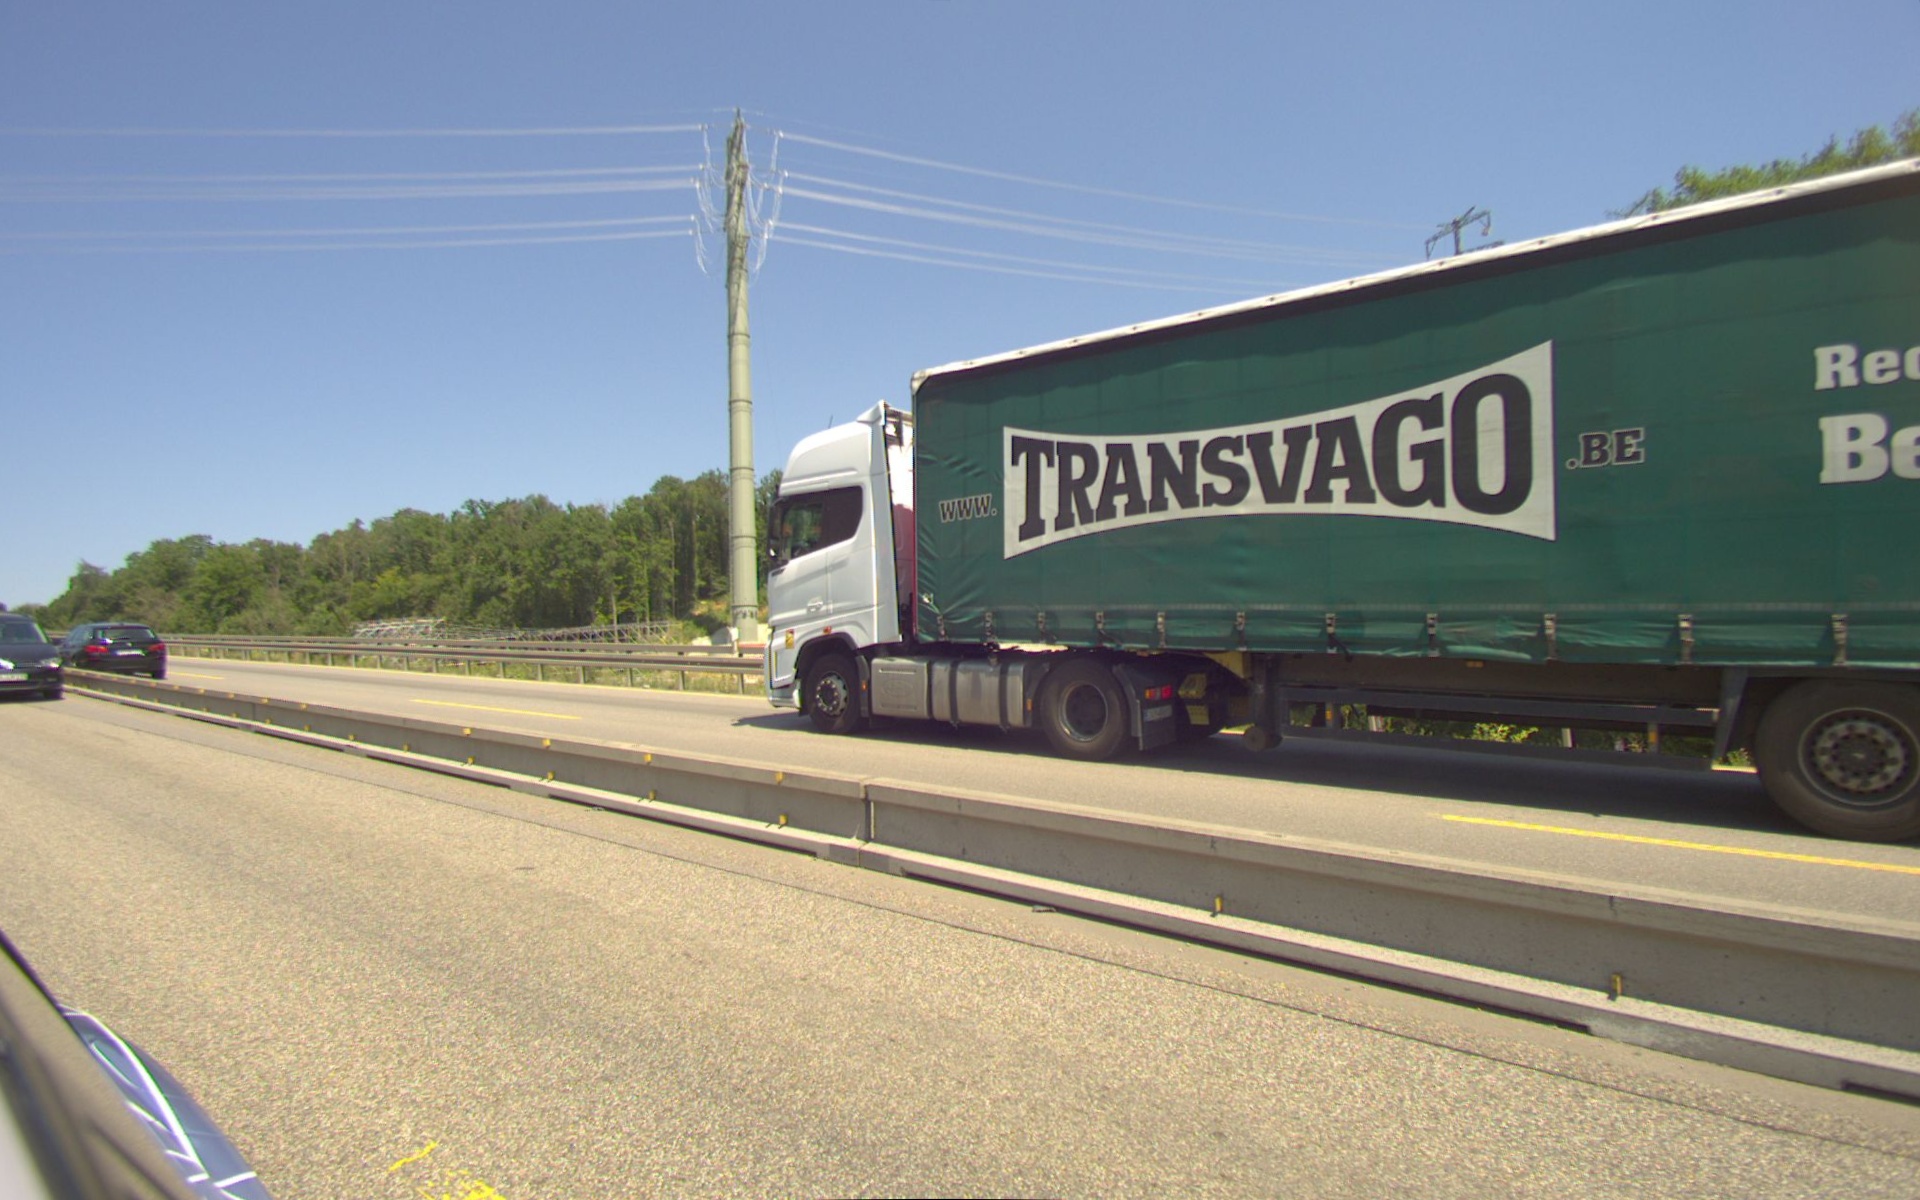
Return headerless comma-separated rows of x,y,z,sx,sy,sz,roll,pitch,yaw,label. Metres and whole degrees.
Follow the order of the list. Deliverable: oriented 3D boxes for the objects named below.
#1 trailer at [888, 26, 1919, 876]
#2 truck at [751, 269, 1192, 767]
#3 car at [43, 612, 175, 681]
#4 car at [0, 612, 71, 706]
5.423,-0.841,7.847,13.996,4.852,3.032,0,-1,41,trailer
0.061,-0.786,12.558,4.643,4.858,3.029,-1,-1,41,truck
-22.648,1.159,26.876,4.851,1.652,1.973,0,-1,41,car
-19.554,1.154,20.206,5.297,1.719,1.838,-2,-2,39,car
